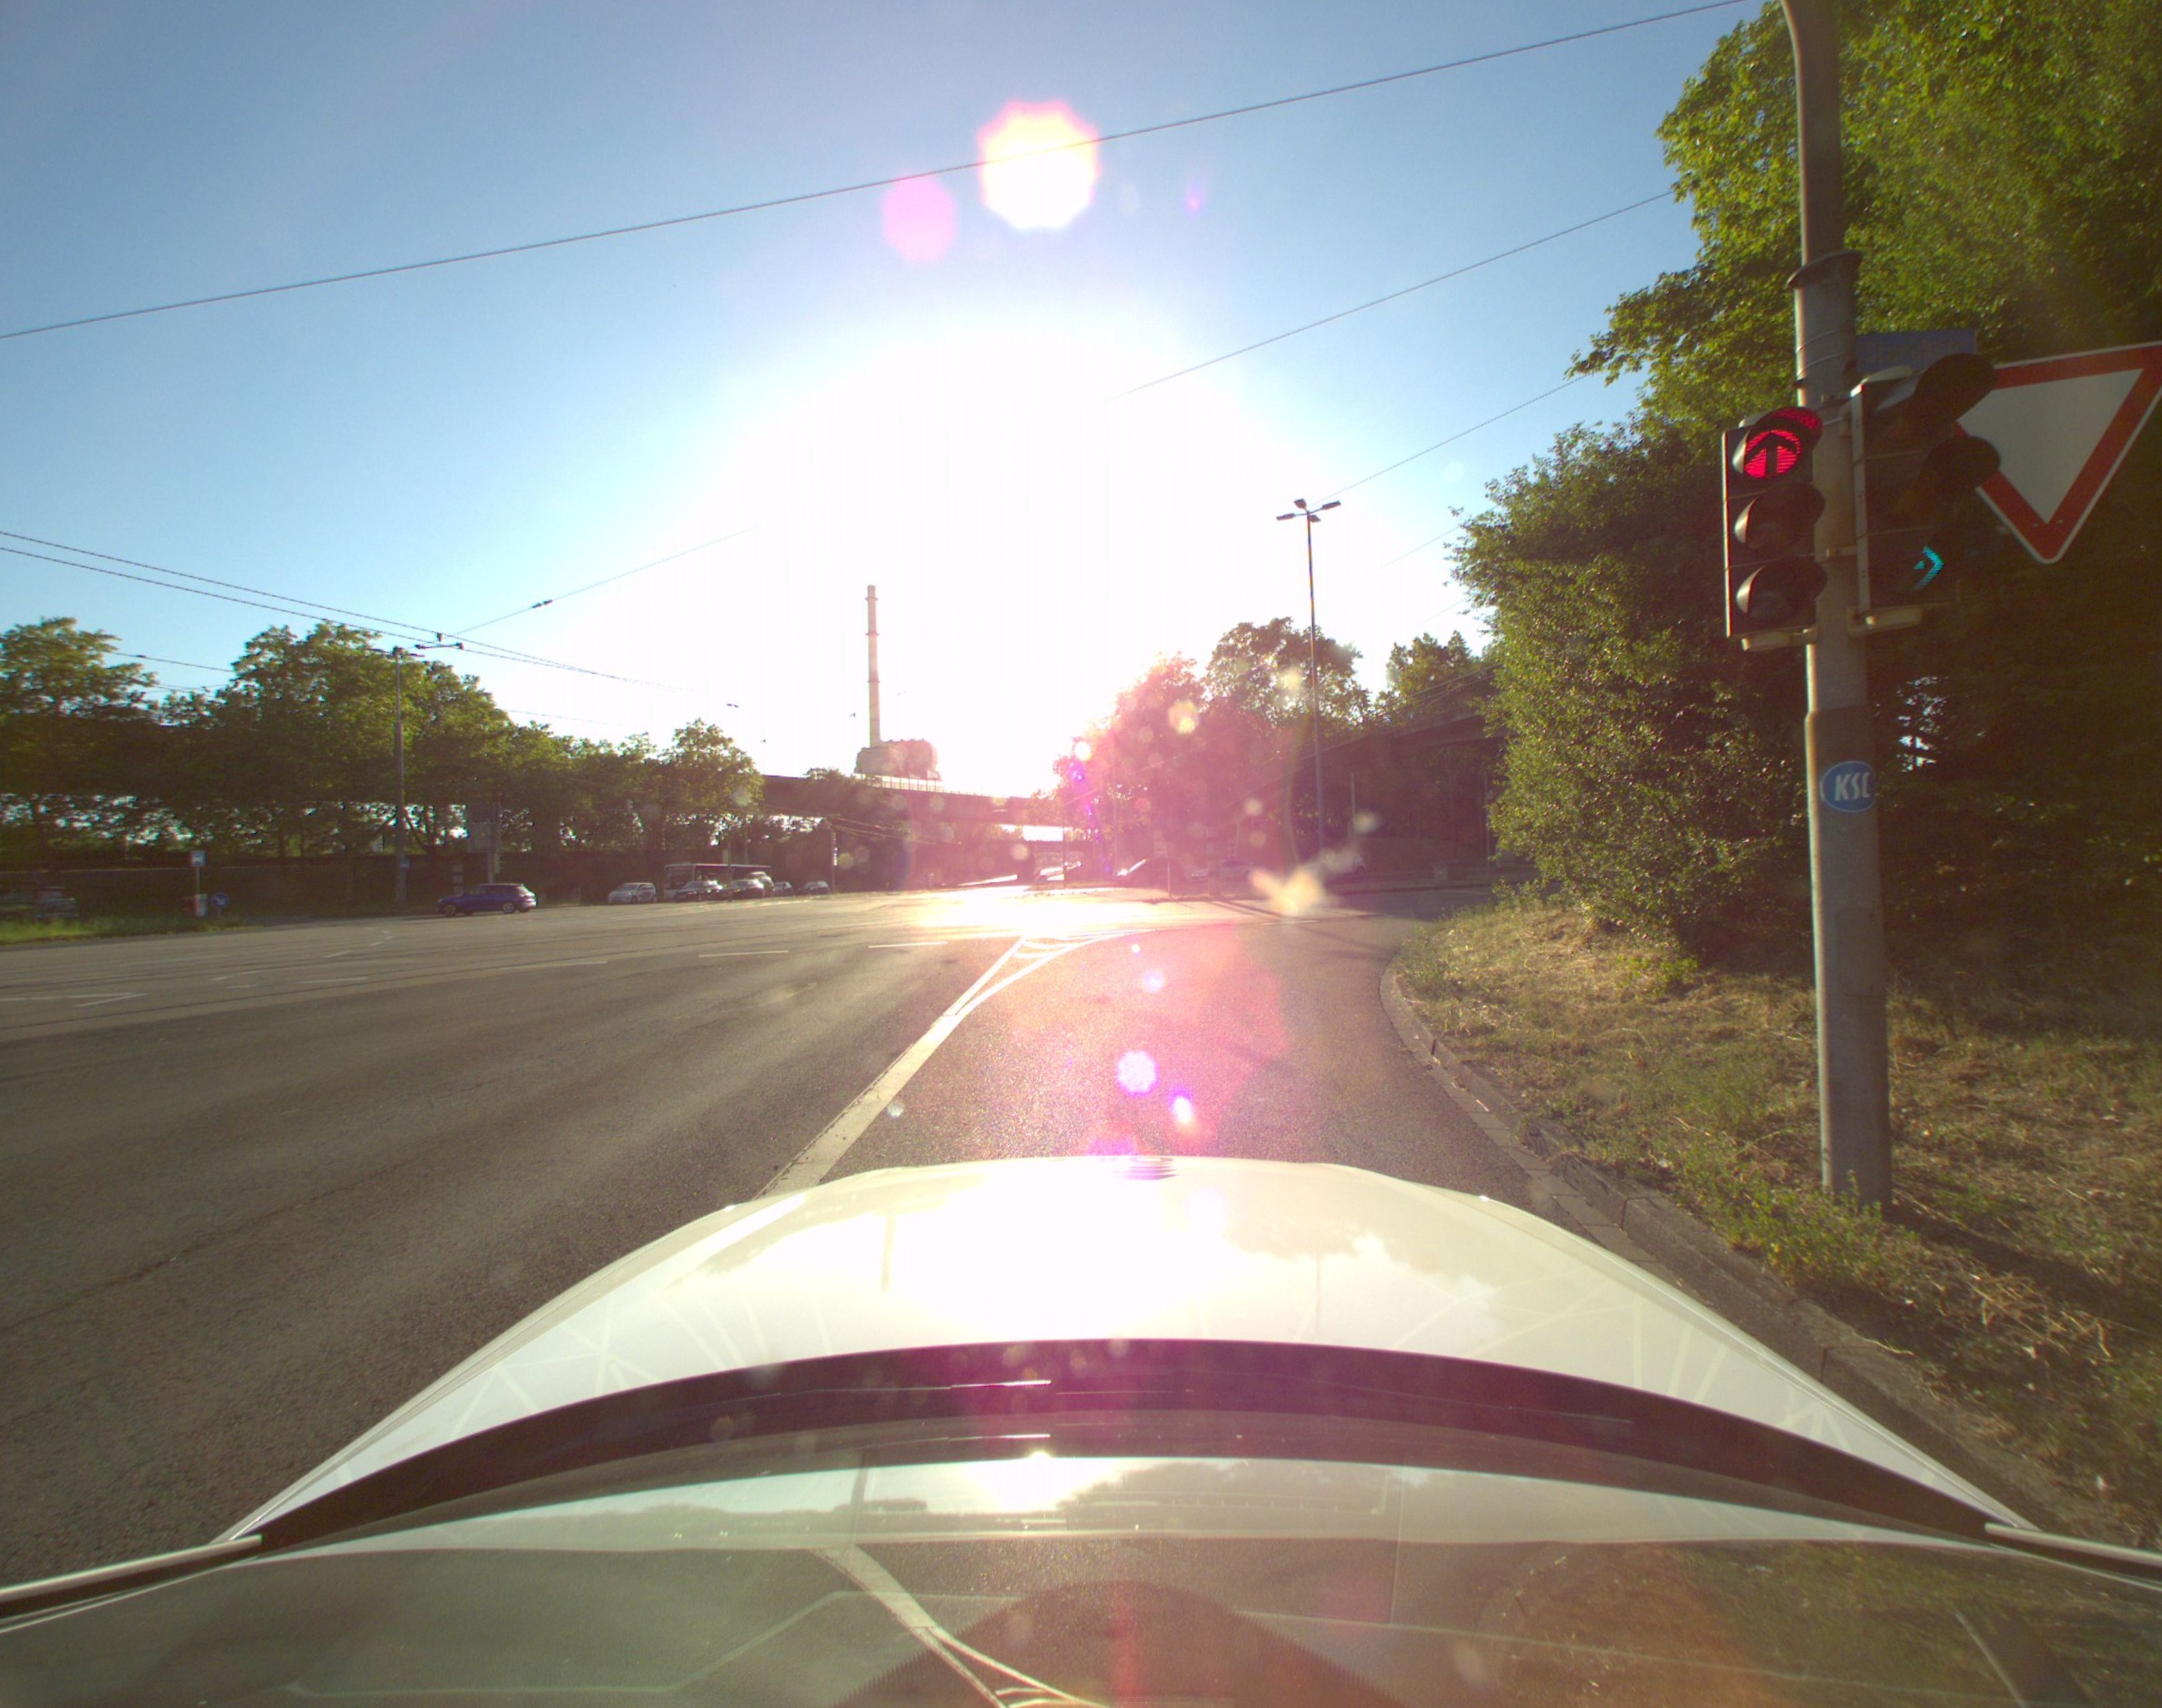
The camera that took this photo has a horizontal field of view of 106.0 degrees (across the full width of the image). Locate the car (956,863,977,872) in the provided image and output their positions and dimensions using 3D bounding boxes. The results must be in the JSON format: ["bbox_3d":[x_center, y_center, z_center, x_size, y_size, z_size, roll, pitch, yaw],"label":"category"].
[{"bbox_3d":[-22.829,2.658,162.109,1.974,1.771,4.025,-2,-2,34],"label":"car"}]

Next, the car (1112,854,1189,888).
[{"bbox_3d":[4.138,0.996,48.449,4.142,1.867,1.846,-1,-1,-17],"label":"car"}]

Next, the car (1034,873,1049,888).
[{"bbox_3d":[-4.797,3.206,99.742,1.706,1.652,4.216,-1,-1,-1],"label":"car"}]

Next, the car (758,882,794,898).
[{"bbox_3d":[-28.998,3.396,77.515,1.693,1.442,4.002,-1,-1,2],"label":"car"}]

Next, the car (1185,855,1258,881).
[{"bbox_3d":[9.279,0.923,53.929,4.367,1.609,1.846,-1,-1,-17],"label":"car"}]

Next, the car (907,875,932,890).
[{"bbox_3d":[-23.614,4.180,119.256,1.983,2.014,5.436,-2,-1,7],"label":"car"}]

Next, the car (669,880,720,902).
[{"bbox_3d":[-26.470,2.522,55.887,1.599,1.354,3.999,-1,-1,0],"label":"car"}]

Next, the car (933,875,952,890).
[{"bbox_3d":[-17.127,3.500,100.773,1.706,1.652,4.091,-1,-1,-2],"label":"car"}]

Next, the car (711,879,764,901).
[{"bbox_3d":[-23.638,2.436,56.200,1.704,1.354,4.097,-1,-1,2],"label":"car"}]

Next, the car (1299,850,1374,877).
[{"bbox_3d":[16.442,0.607,52.528,4.304,1.609,1.846,-1,-1,-17],"label":"car"}]

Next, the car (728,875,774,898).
[{"bbox_3d":[-25.854,2.551,63.930,1.704,1.652,4.097,-1,-1,2],"label":"car"}]

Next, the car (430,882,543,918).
[{"bbox_3d":[-28.807,2.205,39.583,3.927,1.559,1.990,-1,-1,-14],"label":"car"}]

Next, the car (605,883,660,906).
[{"bbox_3d":[-30.204,2.692,54.943,1.599,1.354,3.733,-1,-1,0],"label":"car"}]

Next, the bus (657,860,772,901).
[{"bbox_3d":[-29.653,2.063,66.829,2.810,2.954,12.865,-2,-1,4],"label":"bus"}]

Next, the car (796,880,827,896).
[{"bbox_3d":[-27.879,3.488,84.265,1.693,1.442,4.002,-1,-1,2],"label":"car"}]

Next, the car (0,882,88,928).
[{"bbox_3d":[-47.481,2.249,35.750,4.693,1.905,1.992,-1,-1,-12],"label":"car"}]
